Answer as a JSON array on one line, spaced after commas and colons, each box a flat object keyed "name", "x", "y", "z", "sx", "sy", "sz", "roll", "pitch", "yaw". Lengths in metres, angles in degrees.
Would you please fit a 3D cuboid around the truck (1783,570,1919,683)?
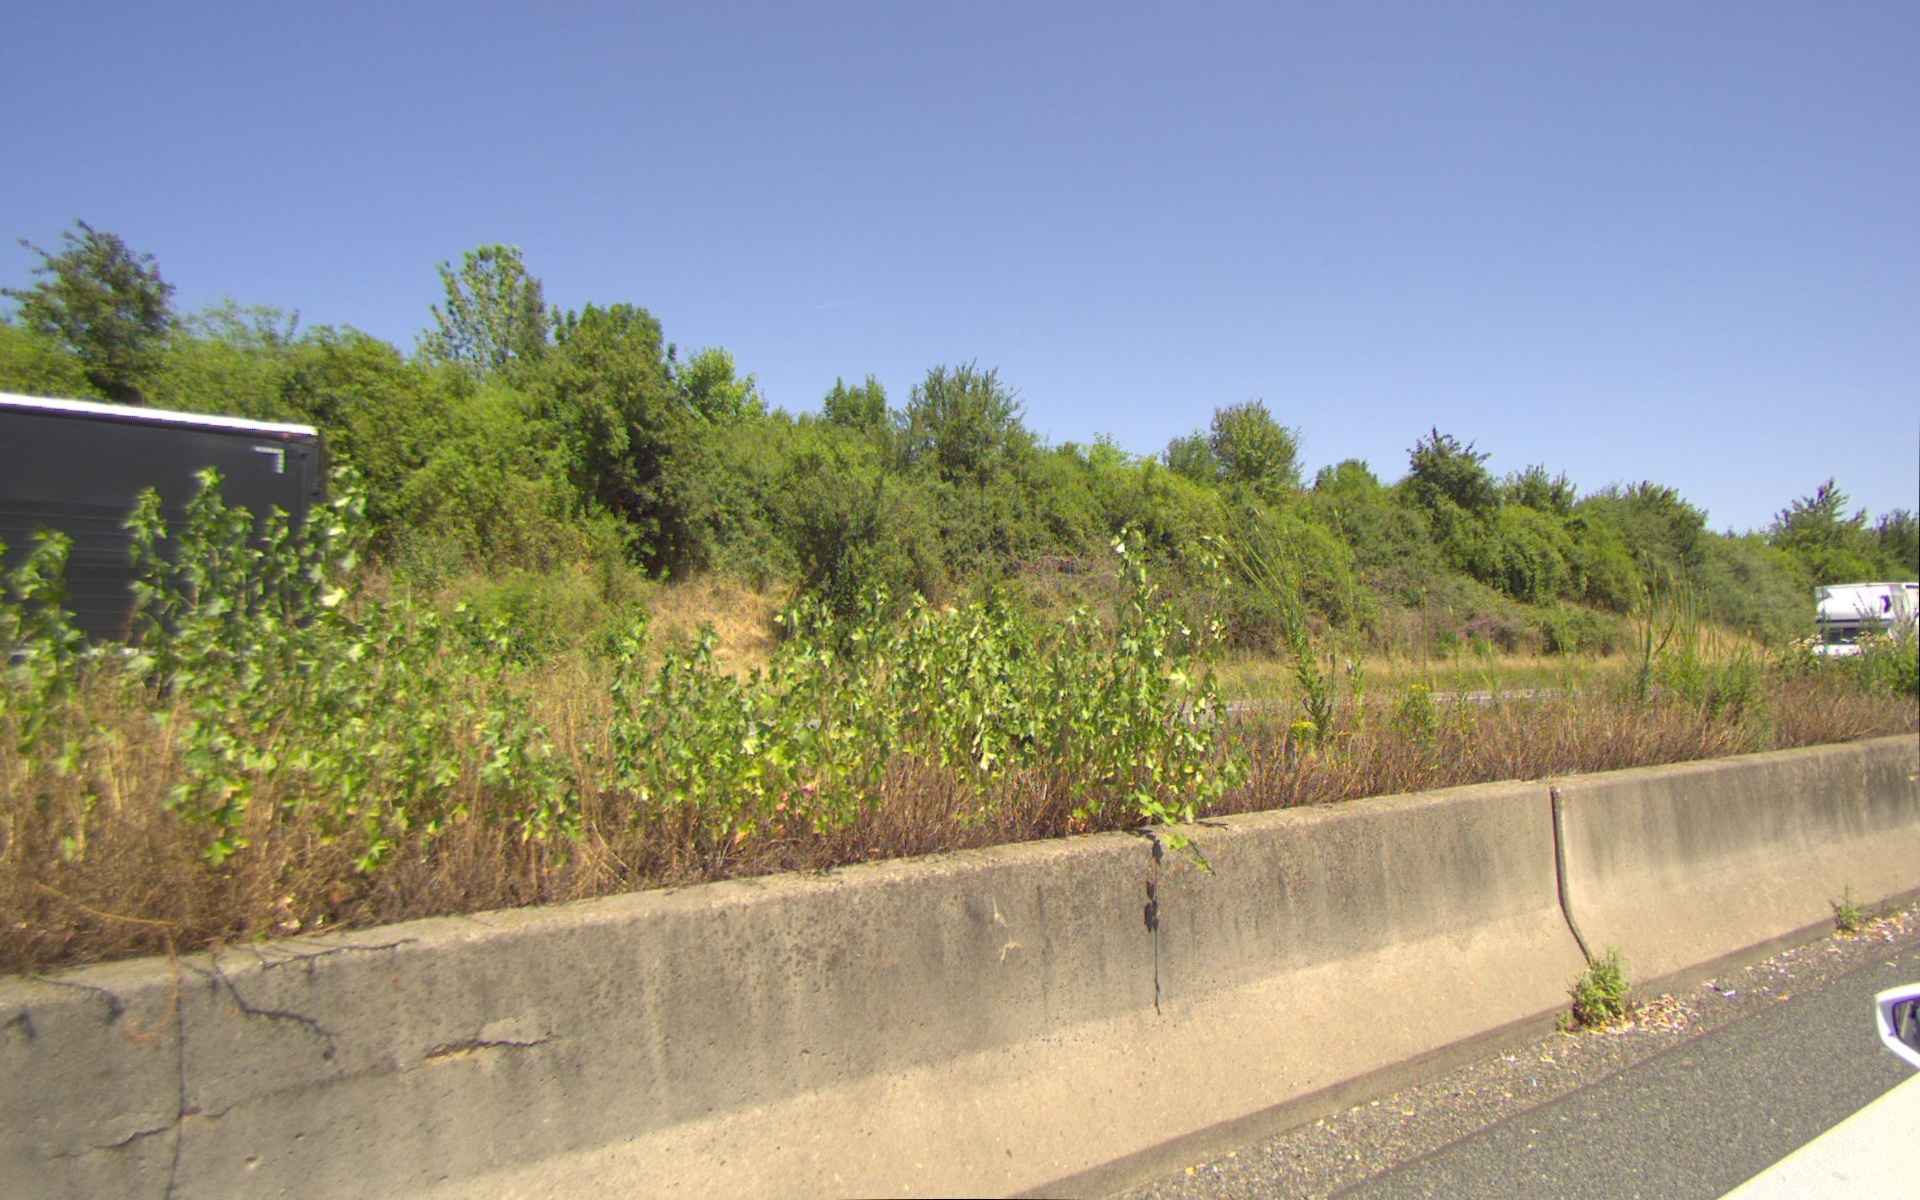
[{"name": "truck", "x": 35.317, "y": 1.109, "z": 38.618, "sx": 8.928, "sy": 3.938, "sz": 2.749, "roll": 2, "pitch": -4, "yaw": -32}]

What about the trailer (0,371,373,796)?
[{"name": "trailer", "x": -13.504, "y": -0.186, "z": 9.117, "sx": 14.036, "sy": 4.220, "sz": 2.740, "roll": 2, "pitch": -4, "yaw": -32}]
